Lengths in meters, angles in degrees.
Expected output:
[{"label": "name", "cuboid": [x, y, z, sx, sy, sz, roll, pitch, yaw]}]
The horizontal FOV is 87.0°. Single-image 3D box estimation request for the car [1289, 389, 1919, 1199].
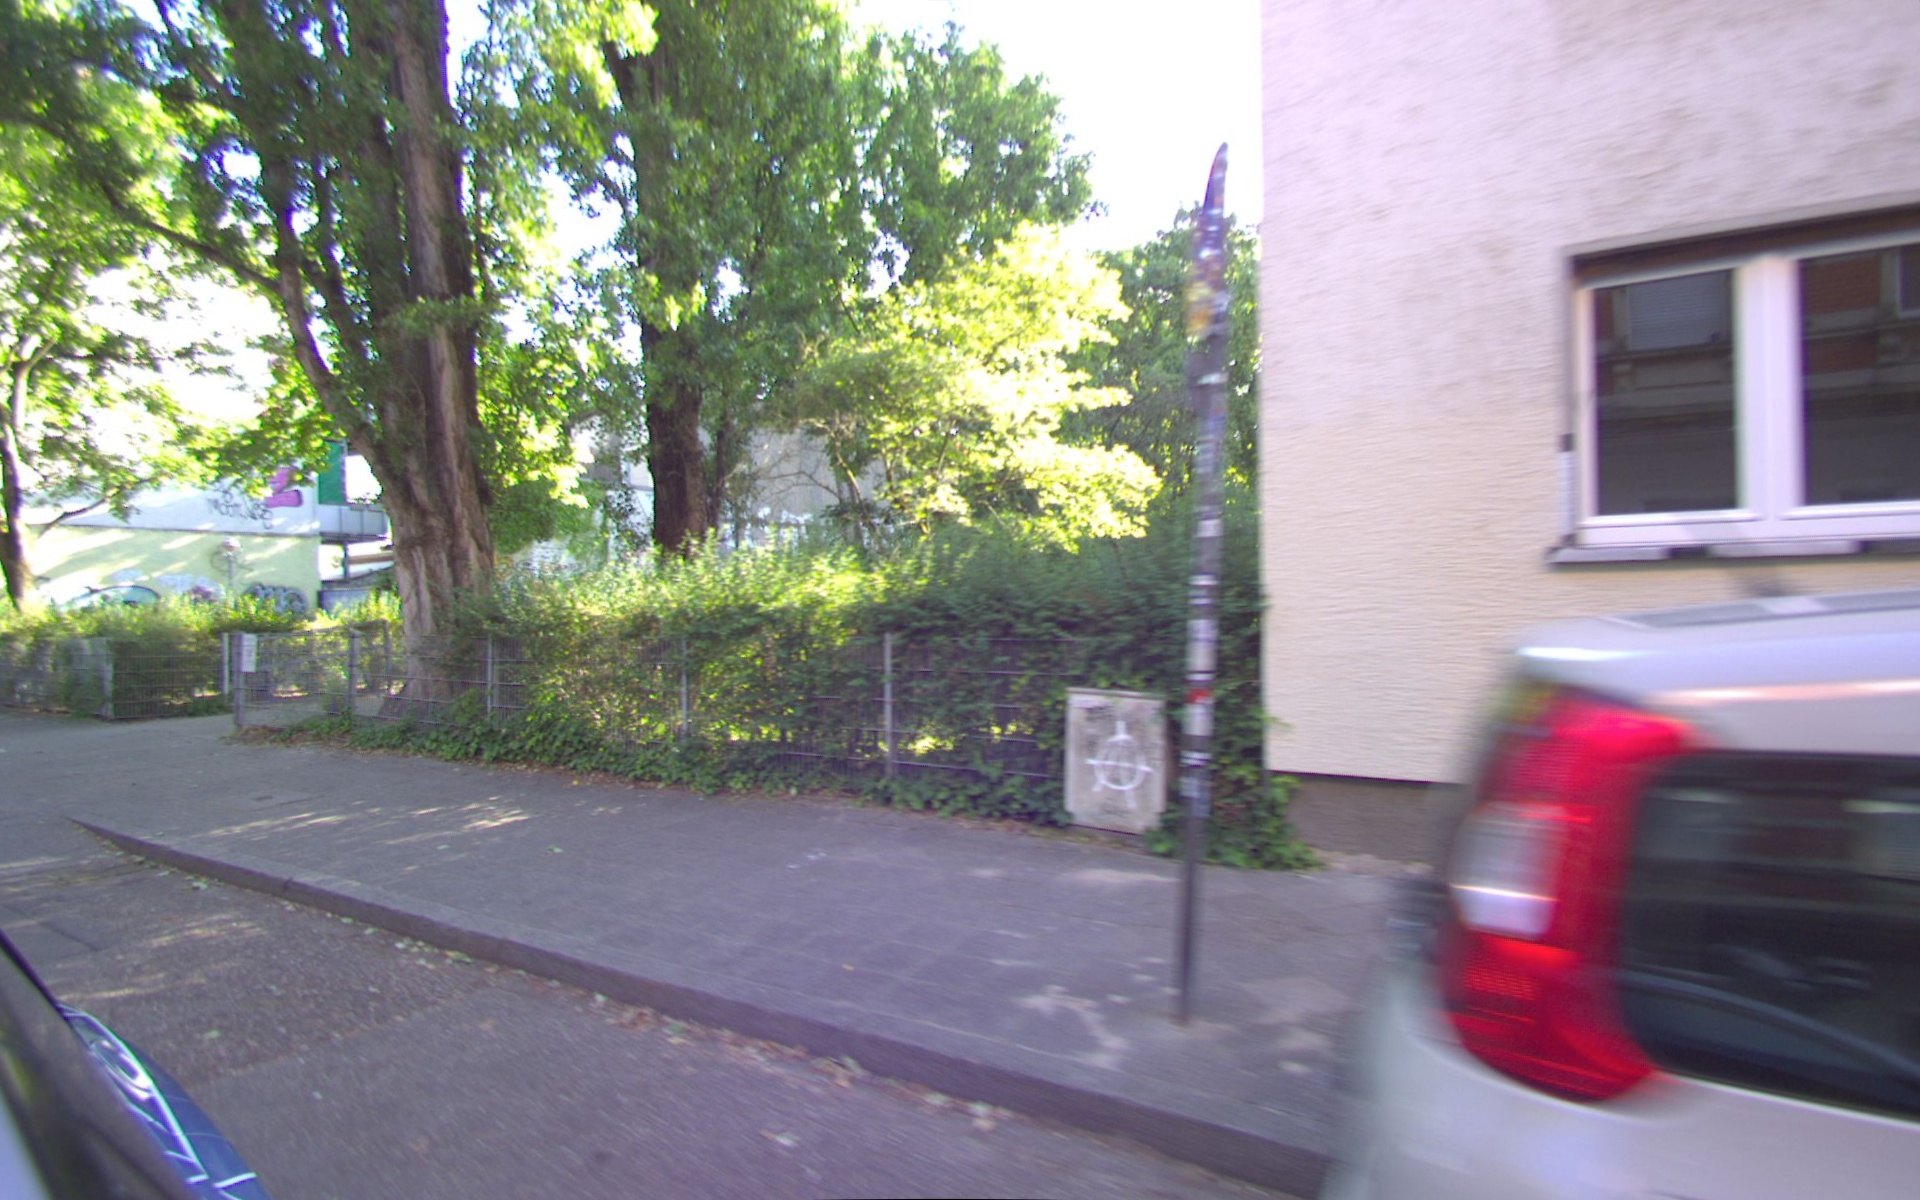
[{"label": "car", "cuboid": [2.370, 0.609, 0.585, 3.857, 1.551, 1.662, -1, -2, 32]}]
